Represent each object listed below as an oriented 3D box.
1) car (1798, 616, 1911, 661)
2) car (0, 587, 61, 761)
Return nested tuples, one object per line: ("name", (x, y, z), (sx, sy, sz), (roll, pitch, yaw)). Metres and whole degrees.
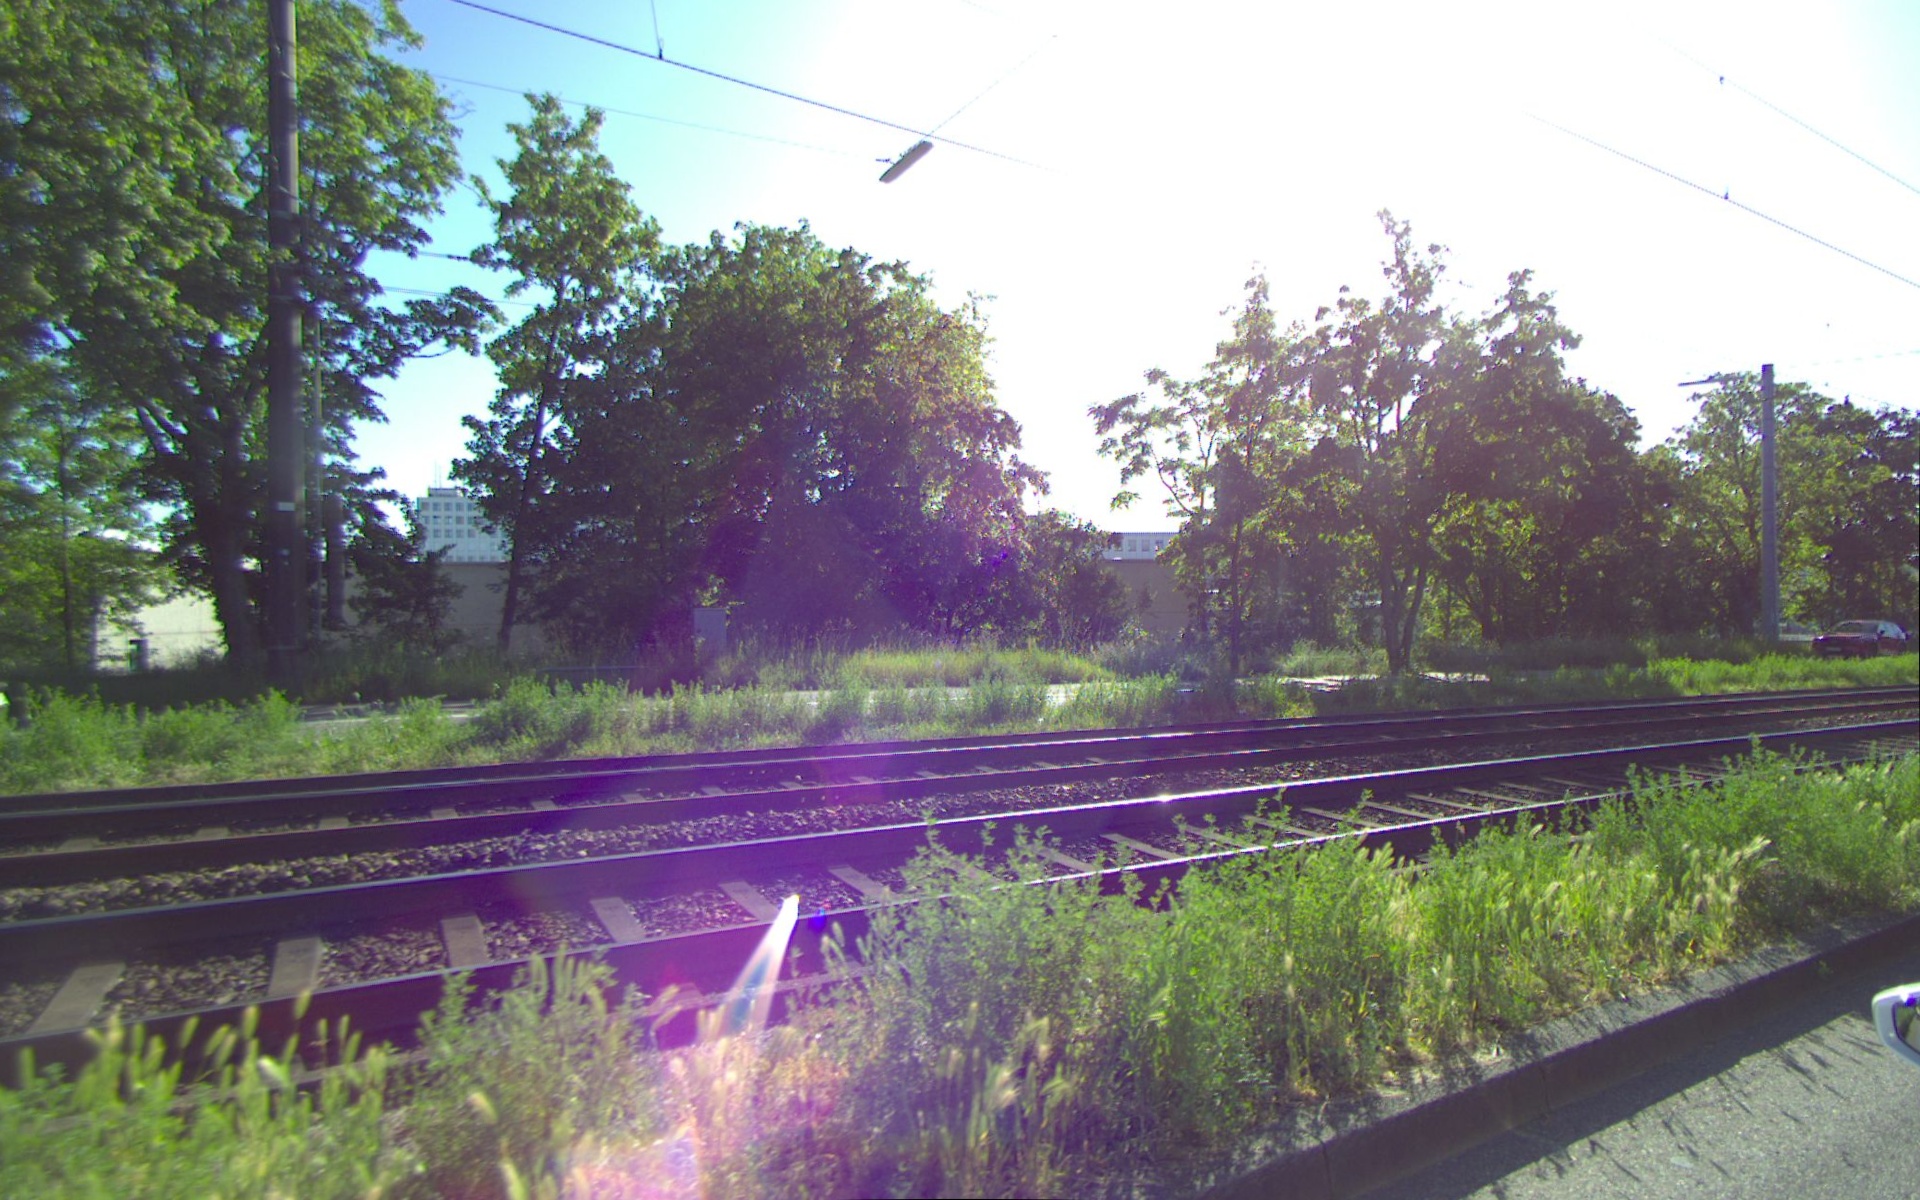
("car", (36.707, 1.548, 41.220), (4.409, 1.725, 1.997), (1, 0, -27))
("car", (-10.353, 0.597, 8.385), (3.955, 1.499, 1.701), (1, 0, -31))
